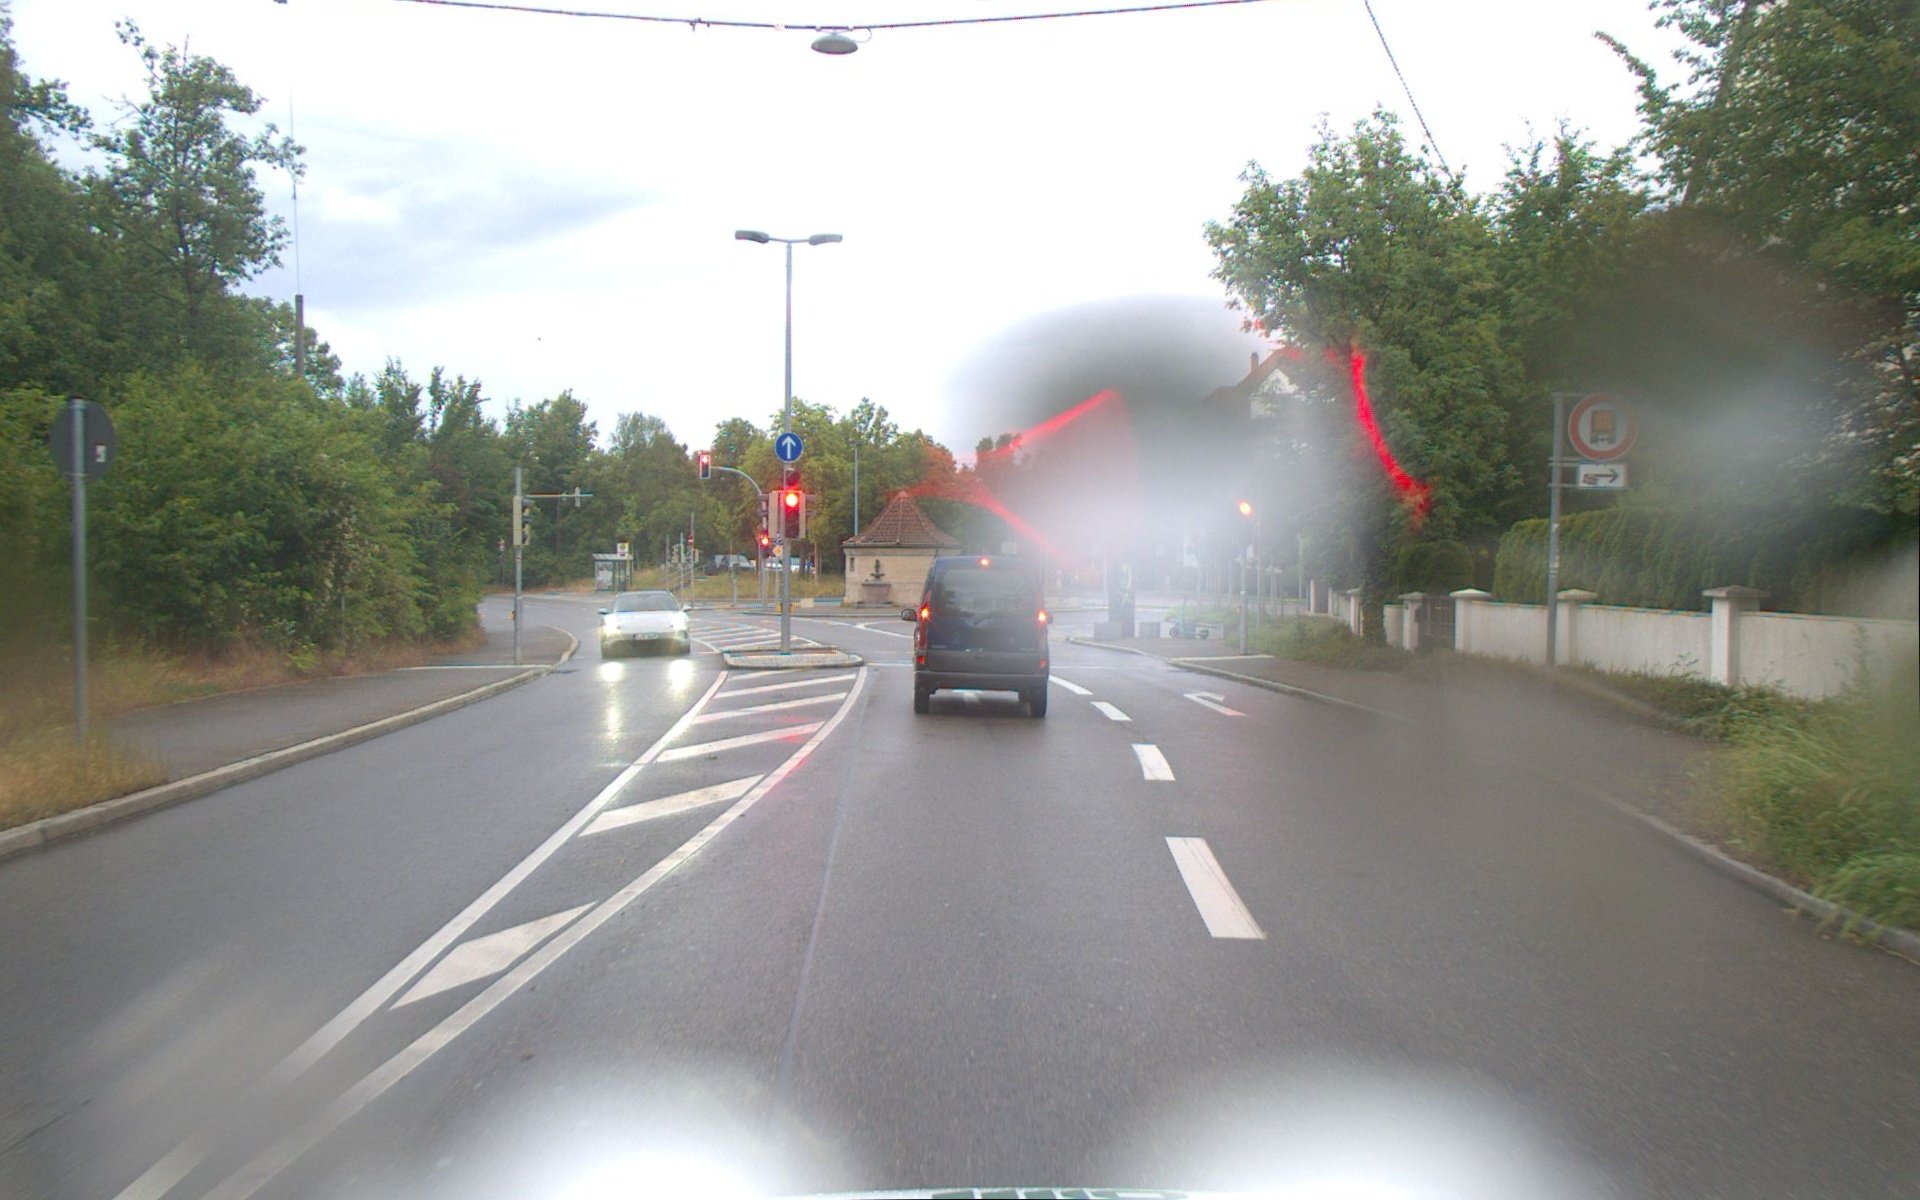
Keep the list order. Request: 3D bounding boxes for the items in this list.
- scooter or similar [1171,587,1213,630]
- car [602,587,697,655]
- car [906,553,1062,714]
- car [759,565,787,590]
[{"bbox_3d":[6.656,0.245,47.435,1.125,1.240,0.405,0,-1,-2],"label":"scooter or similar"},{"bbox_3d":[-7.077,0.431,37.710,1.958,1.334,4.348,-3,1,-11],"label":"car"},{"bbox_3d":[0.209,0.352,20.816,1.697,1.817,3.998,1,1,-3],"label":"car"},{"bbox_3d":[-14.582,-1.744,129.005,1.954,1.844,3.997,1,0,-3],"label":"car"}]
